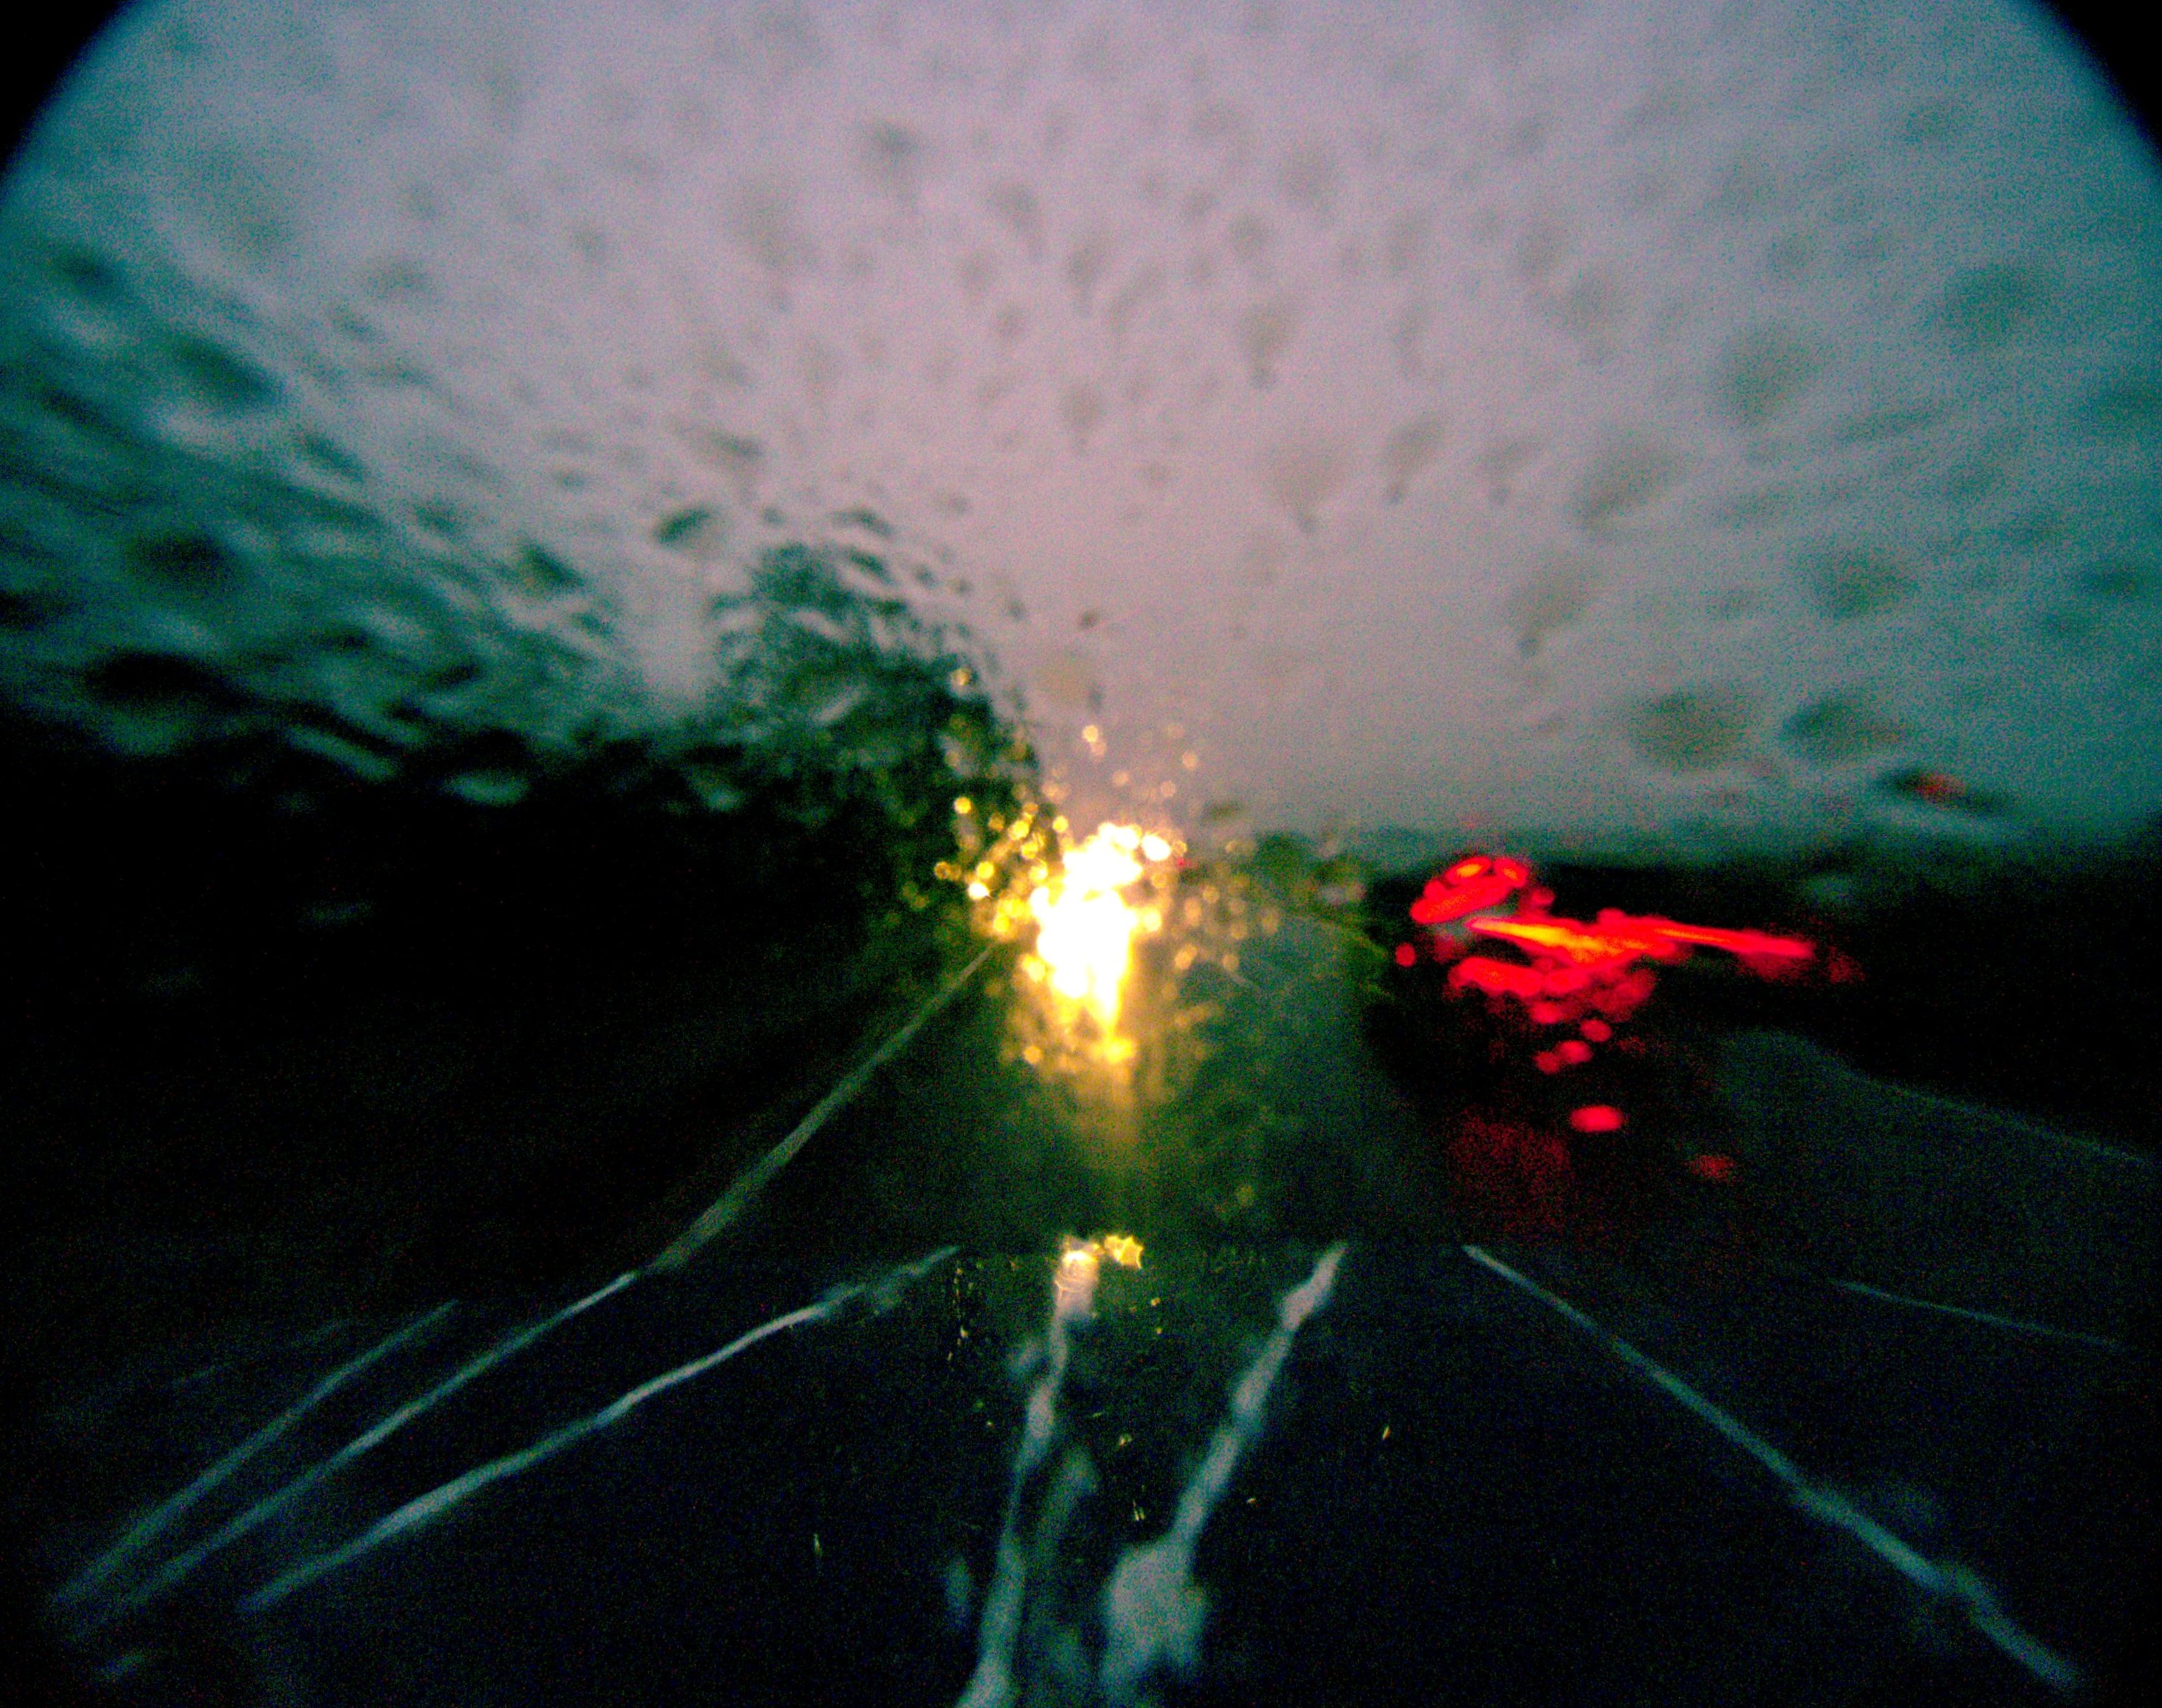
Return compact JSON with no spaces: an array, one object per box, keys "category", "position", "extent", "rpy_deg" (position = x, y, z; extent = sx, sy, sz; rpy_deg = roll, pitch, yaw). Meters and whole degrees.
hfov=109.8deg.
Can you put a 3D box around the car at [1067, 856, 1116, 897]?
[{"category":"car","position":[0.386,0.867,31.244],"extent":[1.844,1.484,3.955],"rpy_deg":[-2,1,-1]}]

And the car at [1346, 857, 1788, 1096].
[{"category":"car","position":[3.752,0.800,6.680],"extent":[1.630,1.464,3.511],"rpy_deg":[1,1,1]}]

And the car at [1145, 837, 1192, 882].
[{"category":"car","position":[4.184,0.250,36.944],"extent":[1.872,2.041,4.293],"rpy_deg":[0,1,1]}]
